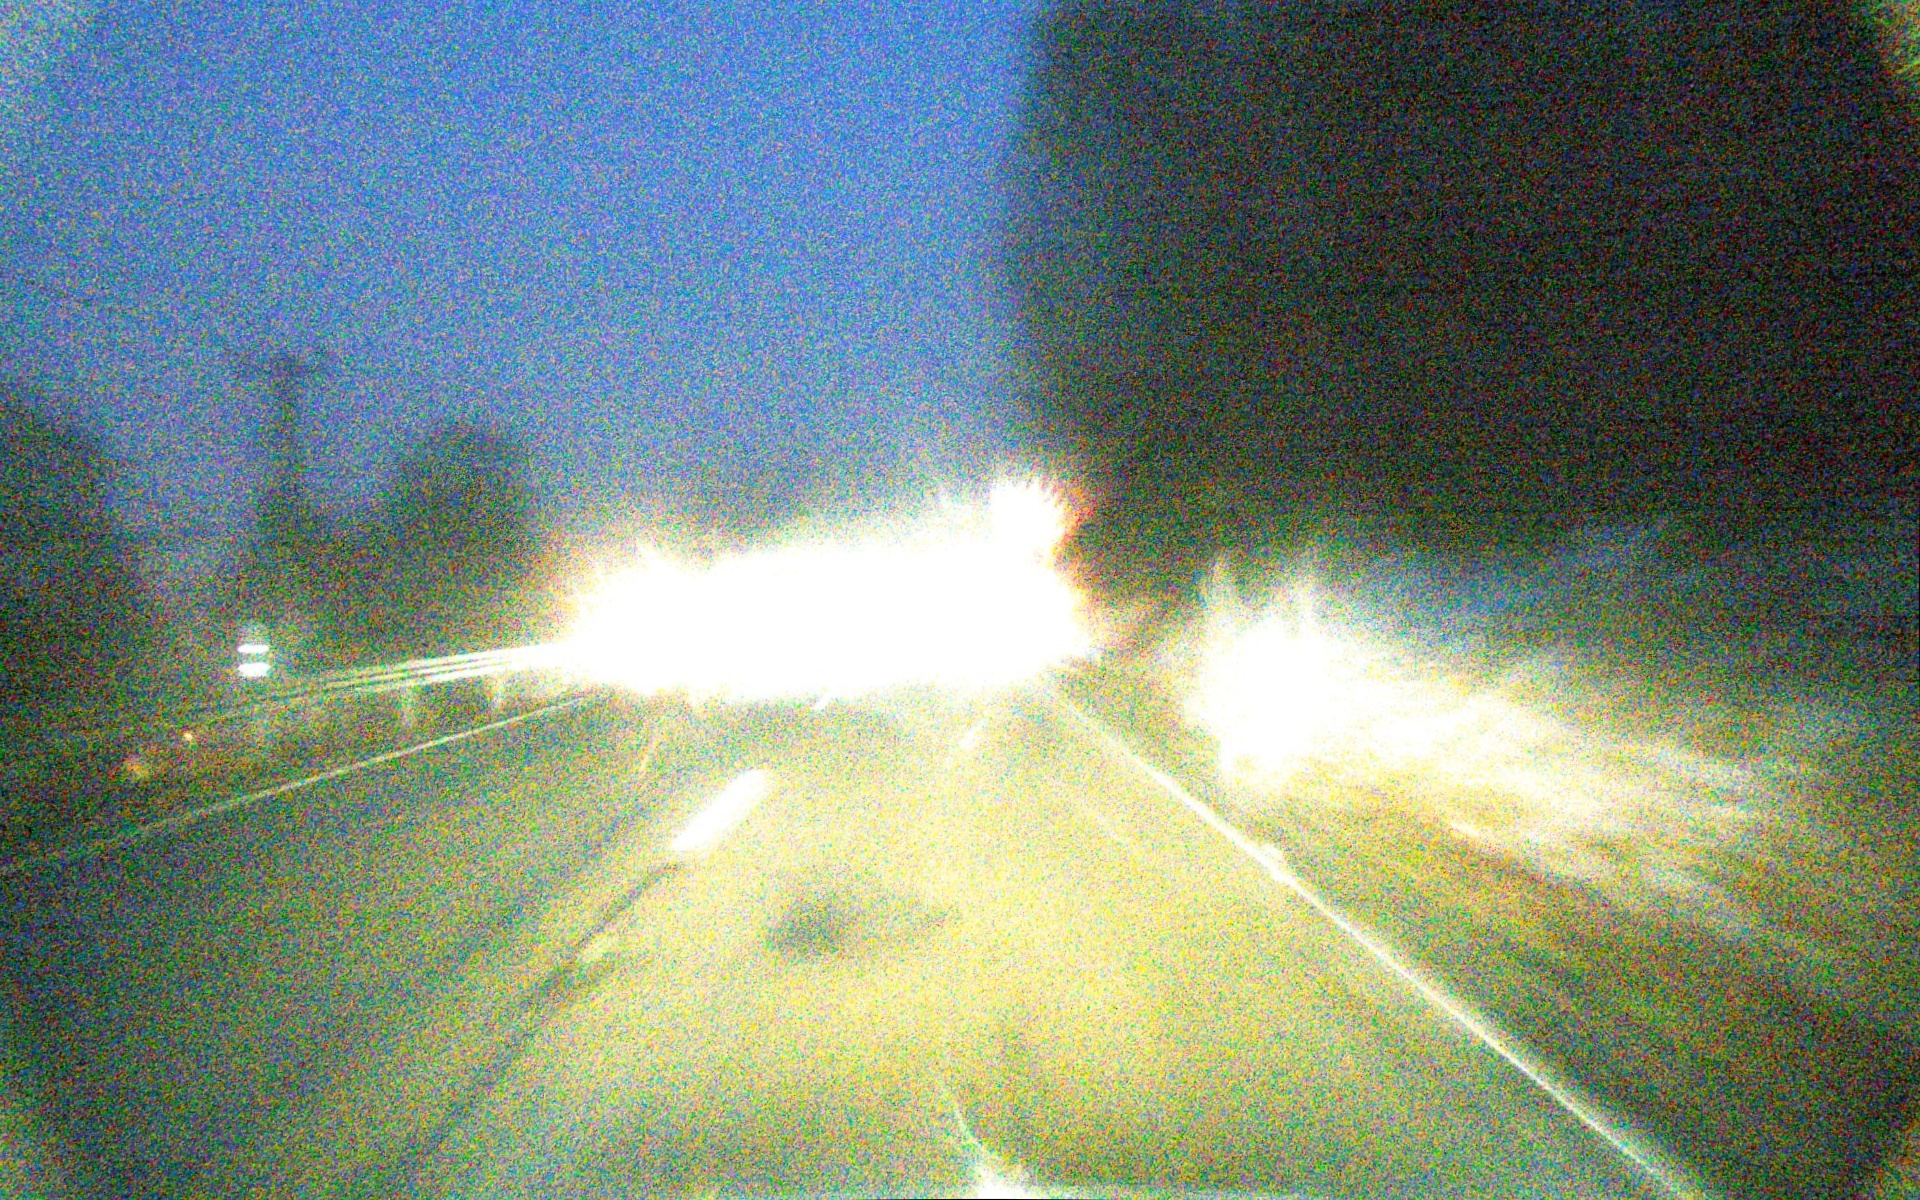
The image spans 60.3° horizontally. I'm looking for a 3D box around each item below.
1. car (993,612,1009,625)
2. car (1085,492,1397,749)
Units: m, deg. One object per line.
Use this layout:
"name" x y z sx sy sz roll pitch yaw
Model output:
"car" 4.641 2.116 189.027 1.703 1.427 3.862 0 -1 3
"car" 2.449 0.263 15.518 2.152 2.049 4.205 1 -3 -1
